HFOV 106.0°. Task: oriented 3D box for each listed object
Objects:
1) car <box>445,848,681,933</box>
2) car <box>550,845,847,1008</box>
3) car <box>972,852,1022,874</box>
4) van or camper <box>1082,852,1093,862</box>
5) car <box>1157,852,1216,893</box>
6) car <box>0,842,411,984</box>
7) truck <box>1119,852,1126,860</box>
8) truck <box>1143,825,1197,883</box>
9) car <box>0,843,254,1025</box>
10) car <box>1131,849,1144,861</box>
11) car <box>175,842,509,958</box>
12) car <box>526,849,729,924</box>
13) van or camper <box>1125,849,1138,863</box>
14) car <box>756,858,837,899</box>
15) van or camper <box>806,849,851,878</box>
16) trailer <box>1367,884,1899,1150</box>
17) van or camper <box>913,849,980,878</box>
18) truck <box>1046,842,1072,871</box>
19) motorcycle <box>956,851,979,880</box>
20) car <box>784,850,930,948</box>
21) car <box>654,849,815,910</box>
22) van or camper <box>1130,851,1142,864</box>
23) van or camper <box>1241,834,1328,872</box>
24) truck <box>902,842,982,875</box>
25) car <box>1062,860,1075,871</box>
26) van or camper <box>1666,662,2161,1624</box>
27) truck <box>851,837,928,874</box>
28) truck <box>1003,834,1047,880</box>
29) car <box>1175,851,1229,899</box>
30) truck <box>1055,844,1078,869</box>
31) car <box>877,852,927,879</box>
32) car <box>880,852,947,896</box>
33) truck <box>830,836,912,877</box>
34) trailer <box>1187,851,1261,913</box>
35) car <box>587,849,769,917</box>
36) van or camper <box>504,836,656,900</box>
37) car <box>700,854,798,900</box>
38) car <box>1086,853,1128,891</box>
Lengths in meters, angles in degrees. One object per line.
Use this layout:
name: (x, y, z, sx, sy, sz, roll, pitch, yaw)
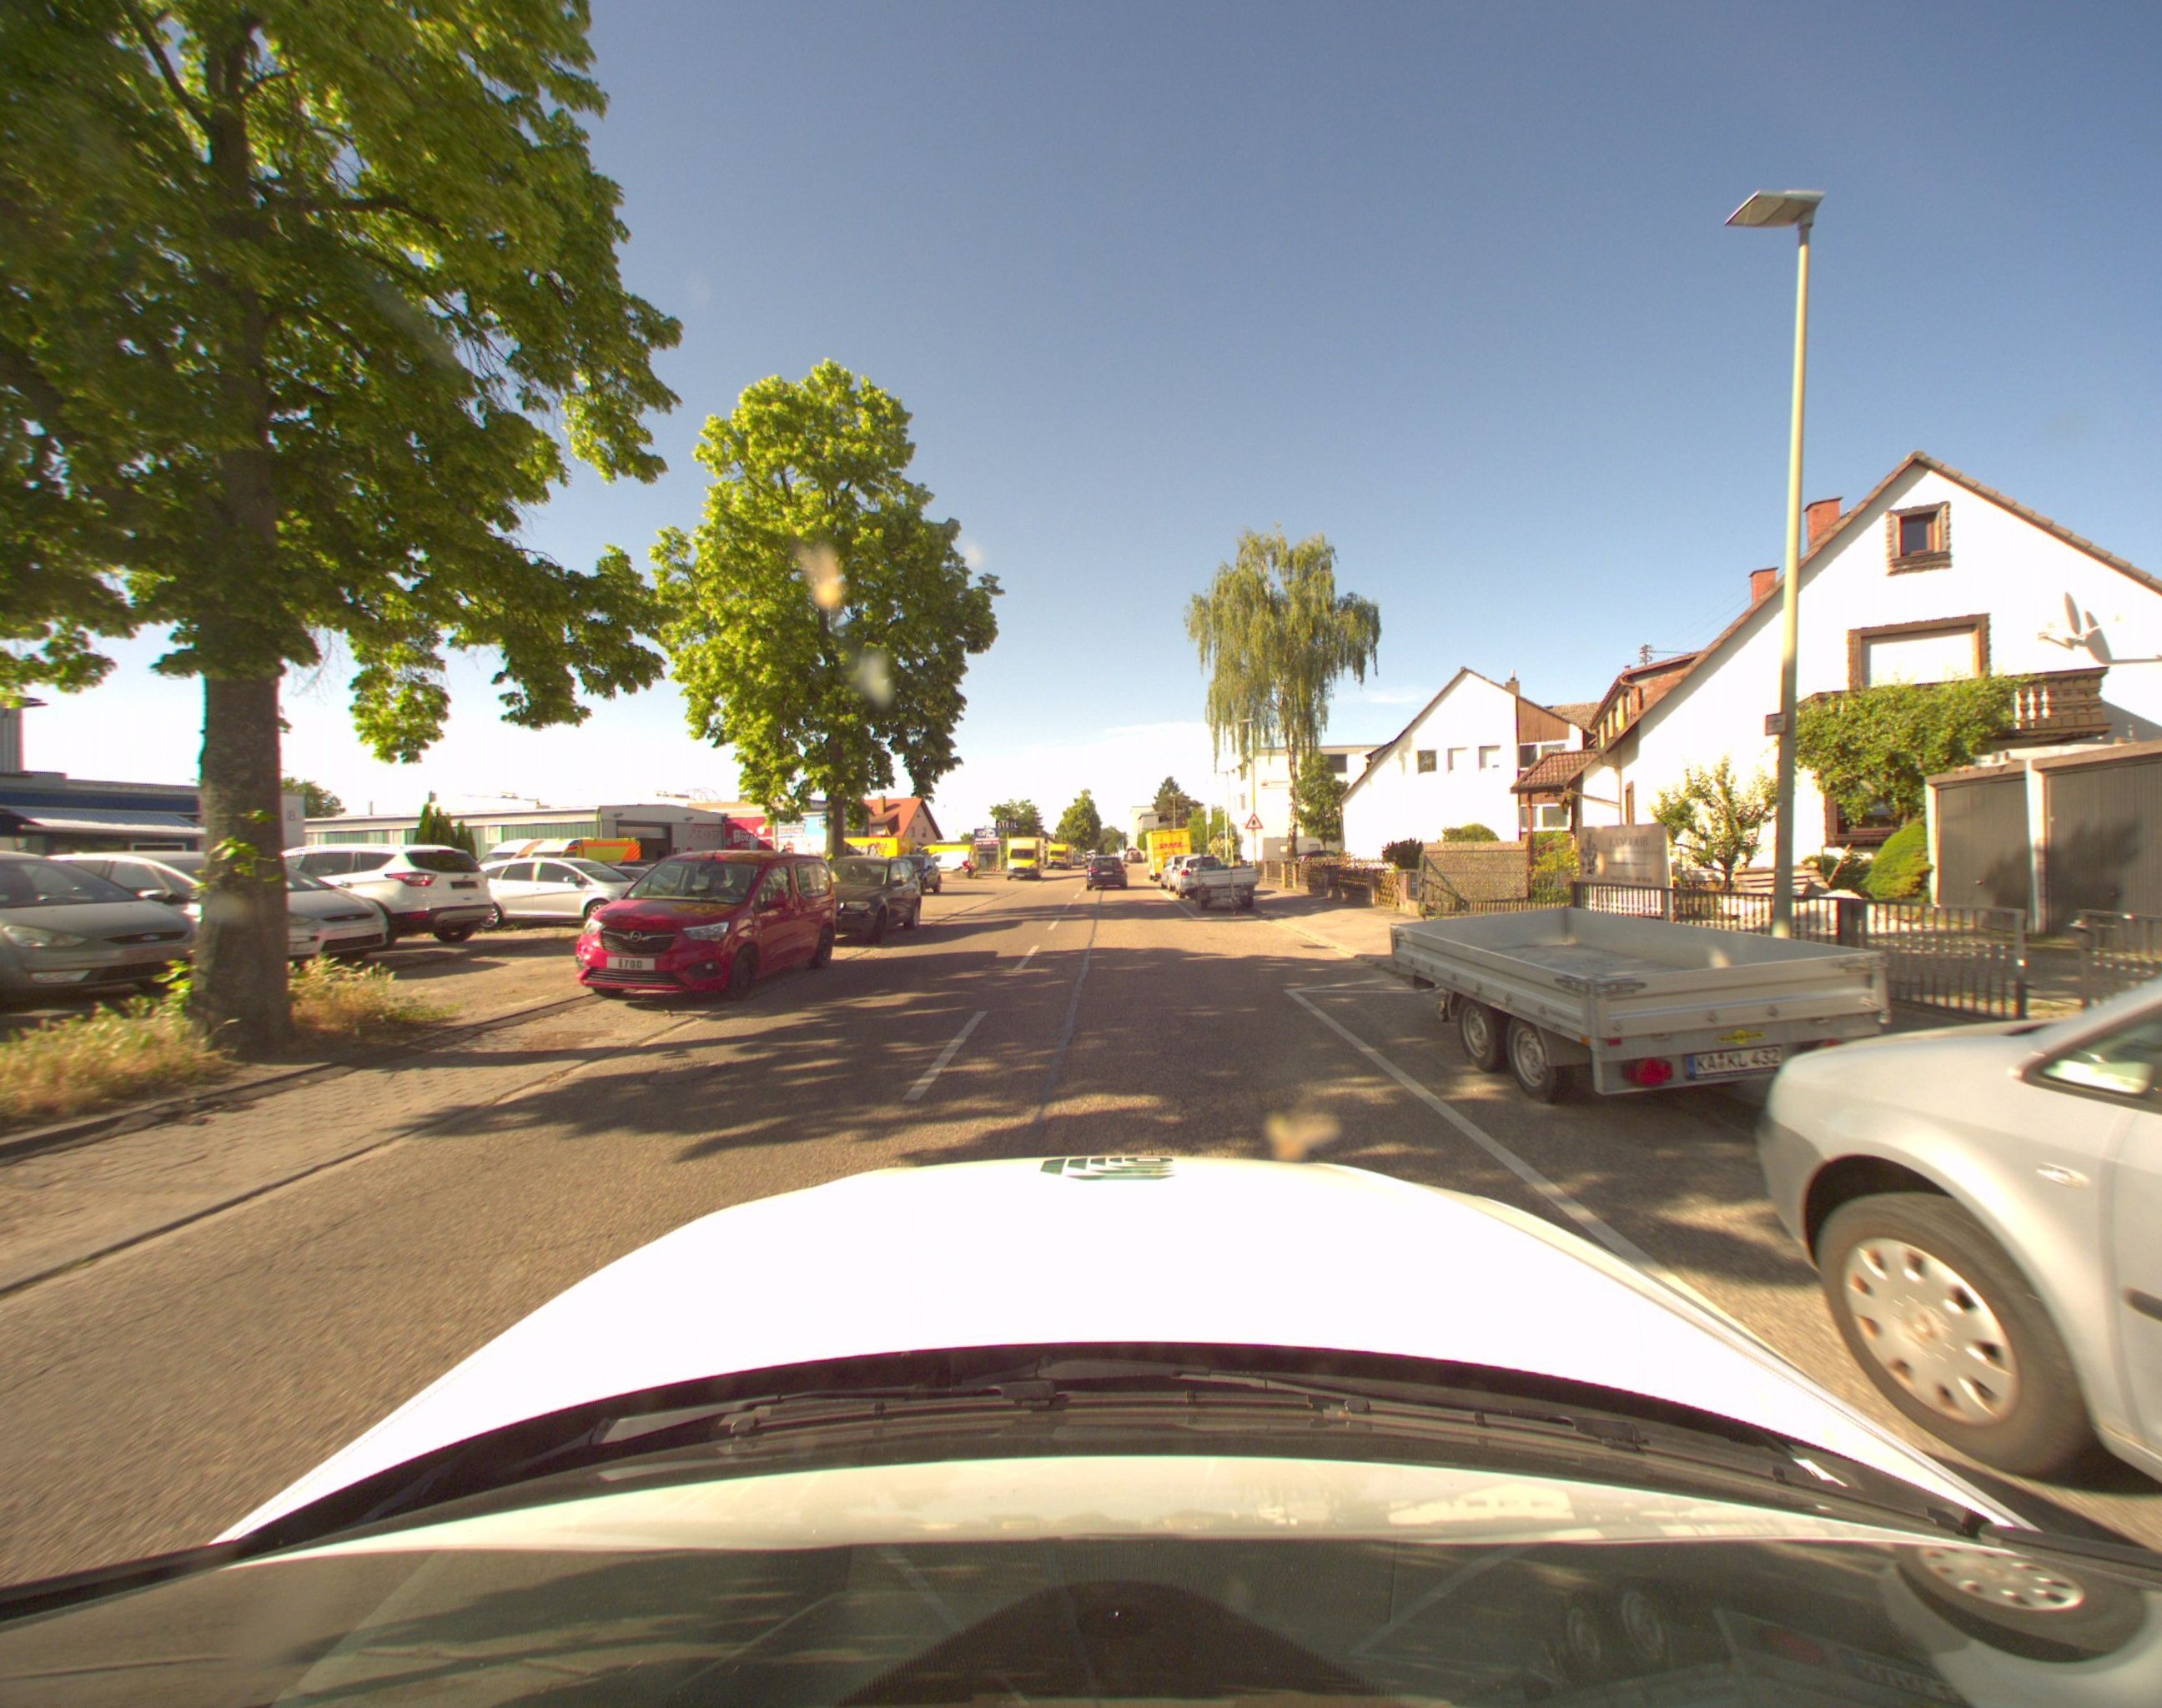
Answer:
car: (-11.596, 0.801, 18.398, 4.230, 1.728, 1.768, -2, 0, 4)
car: (-4.814, 0.792, 11.083, 1.796, 1.752, 4.344, 1, 0, 2)
car: (-7.834, 0.847, 76.392, 4.221, 2.013, 1.874, -1, 0, 10)
van or camper: (1.546, 0.710, 197.030, 2.317, 2.362, 6.524, -1, 0, -2)
car: (4.306, 0.720, 33.952, 1.778, 1.542, 4.535, -1, 0, -1)
car: (-11.951, 0.767, 11.204, 4.225, 1.728, 1.770, -2, 0, 7)
truck: (11.772, 0.562, 231.556, 1.986, 2.287, 6.959, -1, 0, 2)
truck: (4.981, -0.007, 46.653, 2.393, 2.936, 7.020, -3, 0, 2)
car: (-11.991, 0.829, 8.932, 4.228, 1.752, 1.768, -2, 0, 5)
car: (8.789, 0.141, 126.933, 1.911, 1.825, 4.082, -1, 0, 2)
car: (-12.223, 0.739, 13.598, 4.225, 1.728, 1.770, -2, 0, 7)
car: (-11.427, 0.794, 20.669, 4.225, 1.728, 1.770, -2, 0, 7)
van or camper: (8.492, 0.392, 137.443, 1.986, 2.310, 4.002, -1, 0, 2)
car: (-12.014, 1.047, 34.672, 1.854, 1.590, 4.277, -1, -2, 1)
van or camper: (-18.573, 0.704, 60.069, 1.852, 2.013, 4.004, -1, 0, 4)
trailer: (3.402, 0.894, 5.772, 1.622, 1.217, 3.144, -1, 0, -1)
van or camper: (-10.259, 0.721, 62.343, 4.517, 2.013, 2.256, -1, 0, 8)
truck: (-2.335, 0.270, 88.333, 2.393, 2.983, 6.377, 0, 0, 2)
motorcycle: (-7.848, 0.775, 56.609, 0.777, 1.873, 3.046, 2, 1, 6)
car: (-4.543, 0.818, 17.264, 1.668, 1.771, 4.557, 1, 0, 2)
car: (-10.735, 0.782, 25.362, 4.225, 1.728, 1.770, -2, 0, 7)
van or camper: (8.923, 0.574, 132.382, 1.911, 2.019, 4.082, -1, 0, 2)
van or camper: (14.558, -0.062, 58.243, 5.838, 2.541, 2.272, -1, 0, -23)
truck: (-11.104, 0.316, 65.245, 5.880, 2.567, 2.232, 0, 0, 13)
car: (-1.818, 1.623, 117.246, 1.751, 1.403, 4.557, -1, 0, 1)
van or camper: (2.942, 0.560, 0.904, 1.712, 1.890, 4.182, -1, 0, 2)
truck: (-16.367, 0.143, 69.664, 6.047, 2.972, 2.182, -1, 0, 15)
truck: (-3.801, 0.183, 56.787, 2.394, 2.983, 7.247, 0, 0, 1)
car: (4.173, 0.676, 28.496, 1.666, 1.542, 4.049, -1, 0, 6)
truck: (-1.731, 0.266, 97.578, 2.183, 2.902, 6.444, 1, 0, 3)
car: (-12.659, 0.809, 57.918, 1.853, 1.562, 4.228, 0, 4, 11)
car: (-7.149, 0.818, 35.227, 1.854, 1.714, 4.278, 2, 0, 1)
truck: (-16.334, 0.145, 63.547, 5.629, 3.119, 2.532, 0, 0, 13)
trailer: (3.880, 0.716, 22.509, 1.620, 1.538, 3.201, -1, 0, 3)
car: (-11.147, 0.785, 22.671, 4.225, 1.728, 1.770, -2, 0, 7)
van or camper: (-22.908, 0.591, 37.640, 2.150, 2.715, 6.291, -1, 0, 13)
car: (-14.230, 0.947, 35.150, 1.764, 1.748, 4.180, -1, 1, 13)
car: (1.198, 0.755, 35.826, 1.704, 1.532, 3.691, -2, 0, 3)
